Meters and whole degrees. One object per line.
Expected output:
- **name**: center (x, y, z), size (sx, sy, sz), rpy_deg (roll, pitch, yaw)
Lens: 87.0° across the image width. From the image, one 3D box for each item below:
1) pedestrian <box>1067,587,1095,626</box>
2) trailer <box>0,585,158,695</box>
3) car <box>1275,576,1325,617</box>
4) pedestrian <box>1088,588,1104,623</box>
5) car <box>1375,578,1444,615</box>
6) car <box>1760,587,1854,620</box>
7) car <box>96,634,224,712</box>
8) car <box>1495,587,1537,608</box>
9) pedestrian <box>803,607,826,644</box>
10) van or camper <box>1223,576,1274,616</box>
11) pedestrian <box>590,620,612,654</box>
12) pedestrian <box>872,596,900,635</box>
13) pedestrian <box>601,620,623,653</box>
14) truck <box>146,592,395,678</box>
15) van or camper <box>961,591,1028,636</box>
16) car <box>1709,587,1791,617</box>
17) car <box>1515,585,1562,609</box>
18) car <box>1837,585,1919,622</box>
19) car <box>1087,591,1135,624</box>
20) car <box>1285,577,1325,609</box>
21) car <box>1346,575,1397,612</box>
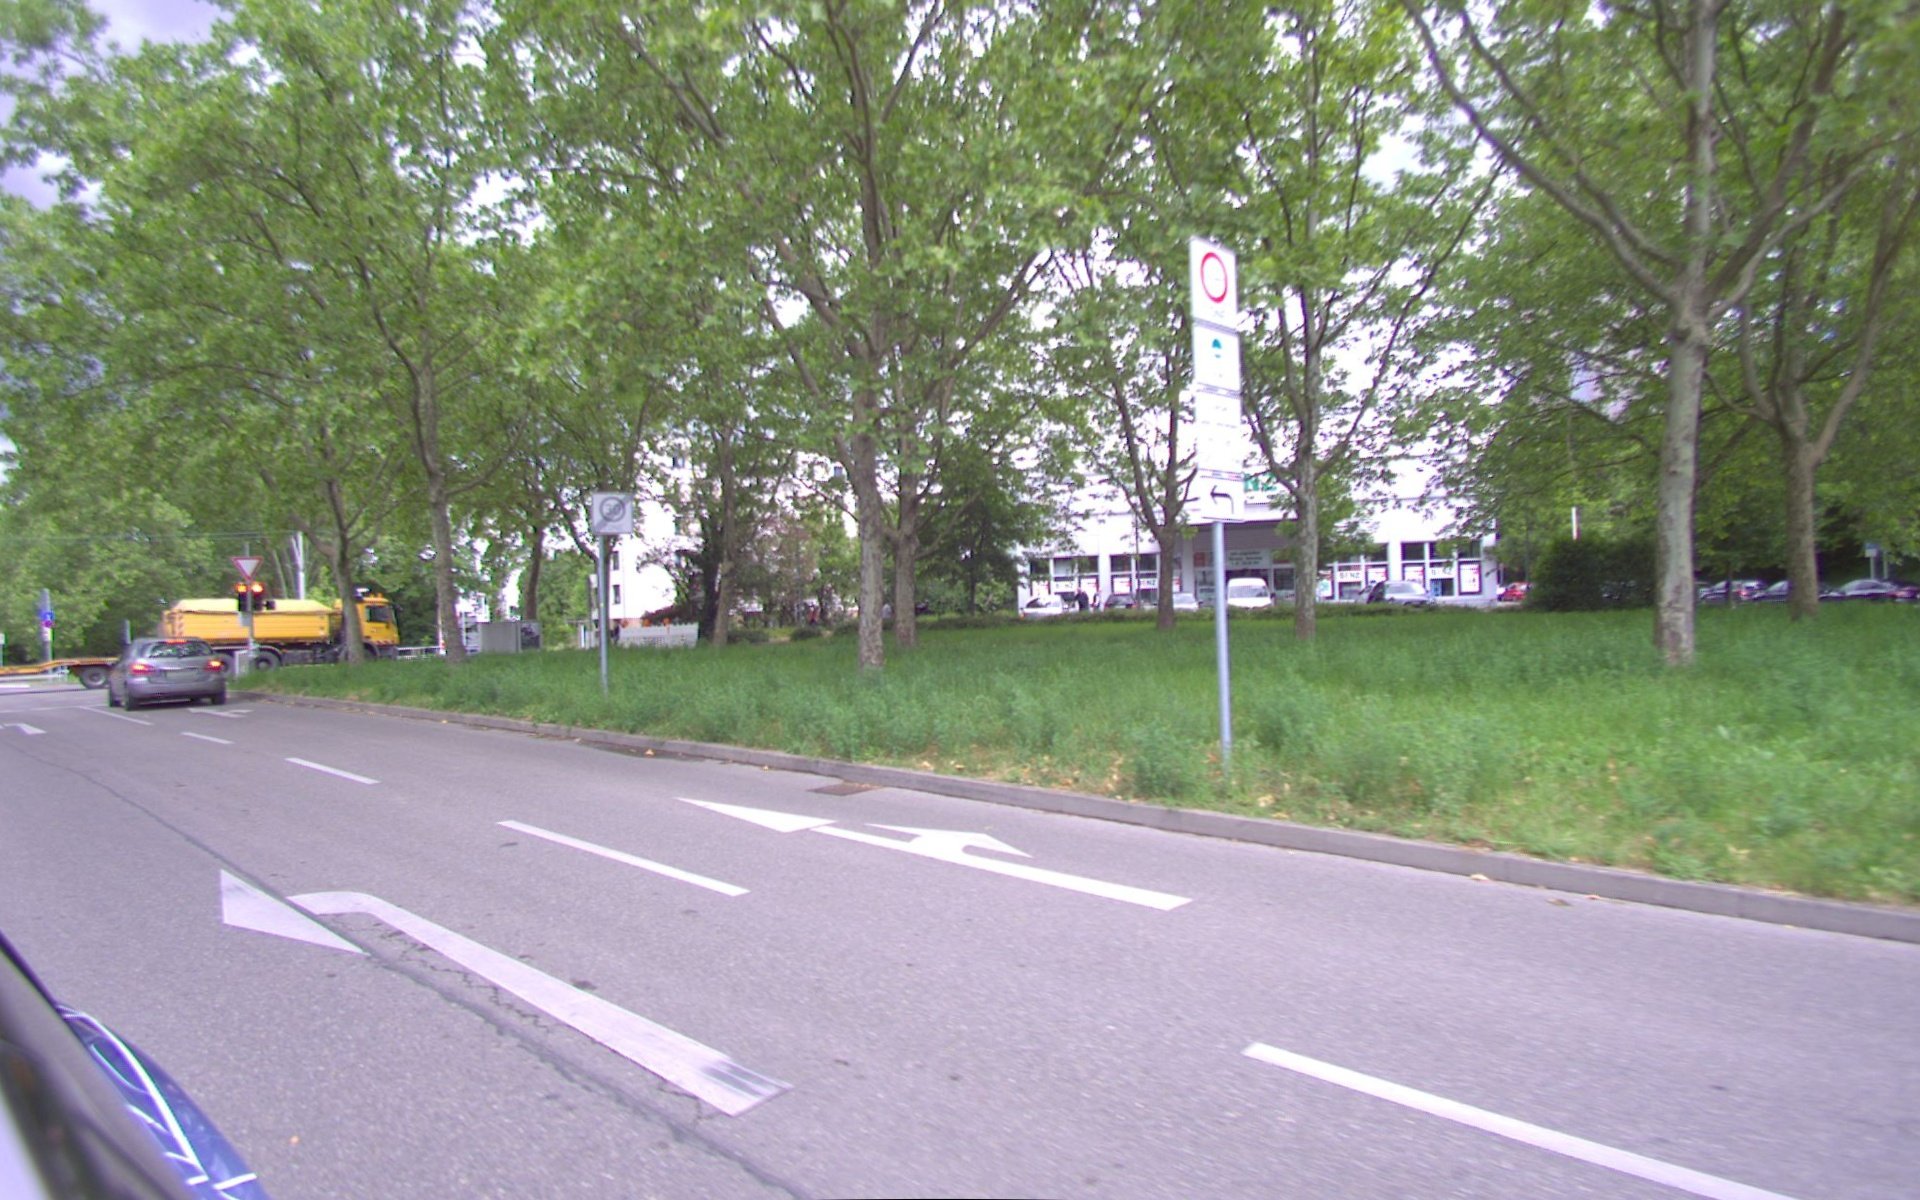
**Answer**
- **pedestrian**: center (5.019, 0.266, 41.939), size (0.796, 1.598, 0.788), rpy_deg (-4, -3, 43)
- **trailer**: center (-33.201, 1.391, 33.034), size (2.716, 3.548, 10.754), rpy_deg (-4, -2, 45)
- **car**: center (13.514, -0.097, 40.351), size (1.470, 1.476, 3.875), rpy_deg (-2, -2, 13)
- **pedestrian**: center (6.861, 0.278, 51.146), size (0.611, 1.758, 0.740), rpy_deg (-2, -2, -5)
- **car**: center (16.607, -0.136, 37.536), size (1.678, 1.264, 3.236), rpy_deg (-1, 0, 12)
- **car**: center (36.258, 0.122, 43.428), size (1.582, 1.331, 3.303), rpy_deg (-1, 0, 9)
- **car**: center (-18.599, 1.664, 23.465), size (4.412, 1.598, 1.747), rpy_deg (-4, -2, 44)
- **car**: center (43.115, -0.153, 78.555), size (1.720, 1.494, 3.984), rpy_deg (-2, -2, 12)
- **pedestrian**: center (-6.165, 1.072, 42.874), size (0.764, 1.550, 0.653), rpy_deg (-2, -2, 9)
- **van or camper**: center (11.138, -0.118, 39.235), size (1.502, 1.367, 3.762), rpy_deg (-2, -2, 11)
- **pedestrian**: center (-16.079, 1.656, 45.286), size (0.689, 1.500, 0.689), rpy_deg (0, -3, -43)
- **pedestrian**: center (-3.135, 0.665, 43.016), size (0.795, 1.598, 0.840), rpy_deg (-3, -2, 39)
- **pedestrian**: center (-15.888, 1.673, 46.232), size (0.689, 1.500, 0.721), rpy_deg (0, -3, -42)
- **truck**: center (-26.739, 1.296, 39.535), size (2.730, 3.026, 7.664), rpy_deg (-4, -2, 45)
- **van or camper**: center (1.495, 0.575, 42.739), size (1.830, 1.696, 3.978), rpy_deg (-3, -2, 16)
- **car**: center (36.942, 0.085, 47.425), size (1.582, 1.331, 3.303), rpy_deg (-1, 0, 9)
- **car**: center (41.225, -0.183, 72.207), size (1.720, 1.494, 3.984), rpy_deg (-2, -2, 12)
- **car**: center (35.463, 0.108, 38.500), size (1.582, 1.331, 3.303), rpy_deg (-1, 0, 9)
- **car**: center (7.677, 0.411, 51.203), size (1.719, 1.512, 4.244), rpy_deg (-2, -2, 17)
- **car**: center (16.970, -0.333, 49.914), size (1.470, 1.415, 3.394), rpy_deg (-2, -2, 13)
- **car**: center (19.981, -0.321, 49.271), size (1.657, 1.647, 3.805), rpy_deg (-2, 0, 13)
